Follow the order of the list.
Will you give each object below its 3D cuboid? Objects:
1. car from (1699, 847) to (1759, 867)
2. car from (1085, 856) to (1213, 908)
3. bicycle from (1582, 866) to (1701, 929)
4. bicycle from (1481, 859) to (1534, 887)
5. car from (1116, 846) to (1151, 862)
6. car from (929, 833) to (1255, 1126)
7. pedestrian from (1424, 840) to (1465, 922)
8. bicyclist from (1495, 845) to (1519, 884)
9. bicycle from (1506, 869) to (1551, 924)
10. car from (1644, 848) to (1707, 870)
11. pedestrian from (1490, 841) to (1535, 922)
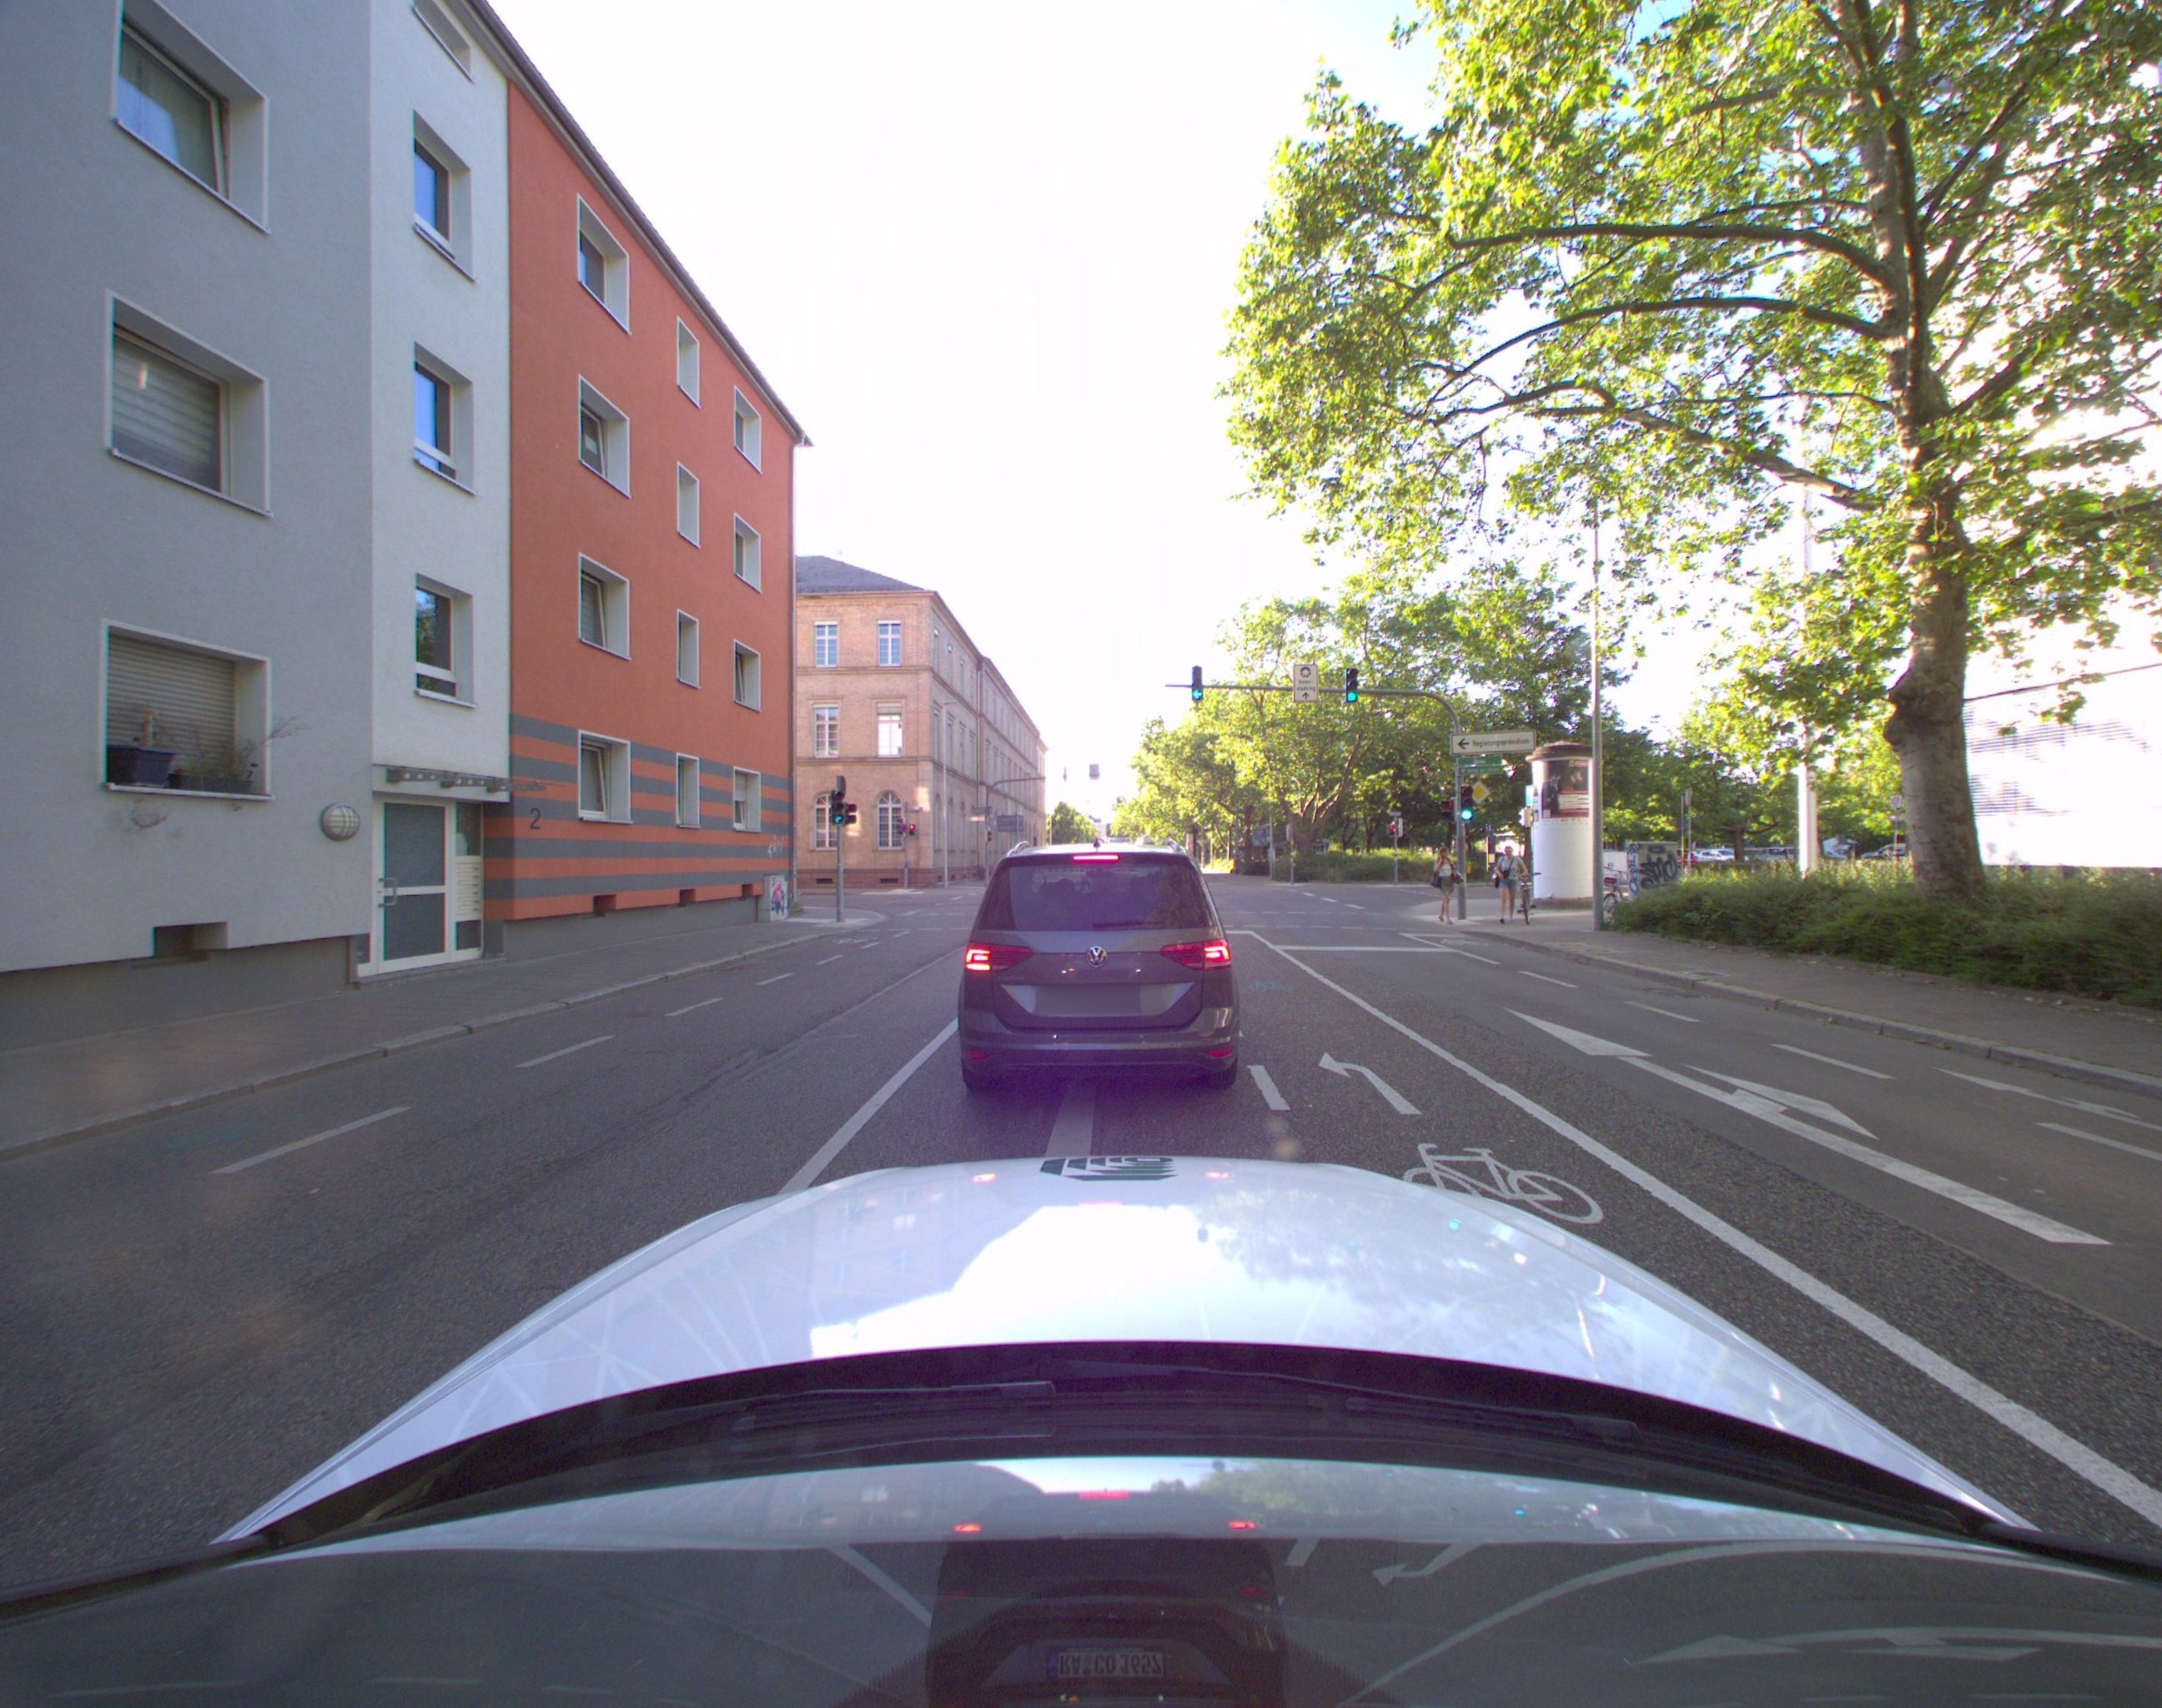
[{"bbox_3d":[48.365,0.235,60.867,1.566,1.468,3.797,0,0,2],"label":"car"},{"bbox_3d":[1.916,0.771,24.465,1.852,1.429,4.480,0,0,-25],"label":"car"},{"bbox_3d":[10.976,0.840,15.987,1.968,1.190,0.528,0,-1,1],"label":"bicycle"},{"bbox_3d":[18.875,0.824,36.033,2.022,1.220,0.600,0,-1,2],"label":"bicycle"},{"bbox_3d":[5.815,-0.035,91.034,1.726,1.611,3.859,4,0,-37],"label":"car"},{"bbox_3d":[0.207,0.717,6.540,1.801,1.612,4.005,-1,0,4],"label":"car"},{"bbox_3d":[8.241,0.614,18.487,0.726,1.808,0.913,-2,-2,20],"label":"pedestrian"},{"bbox_3d":[18.839,0.472,36.002,0.707,1.697,0.676,0,-1,2],"label":"bicyclist"},{"bbox_3d":[9.662,0.894,17.645,0.520,1.100,1.749,0,0,17],"label":"bicycle"},{"bbox_3d":[40.642,0.350,55.779,1.623,1.482,3.797,0,0,2],"label":"car"},{"bbox_3d":[9.487,0.598,17.932,0.677,1.697,0.975,-3,-1,19],"label":"pedestrian"}]
